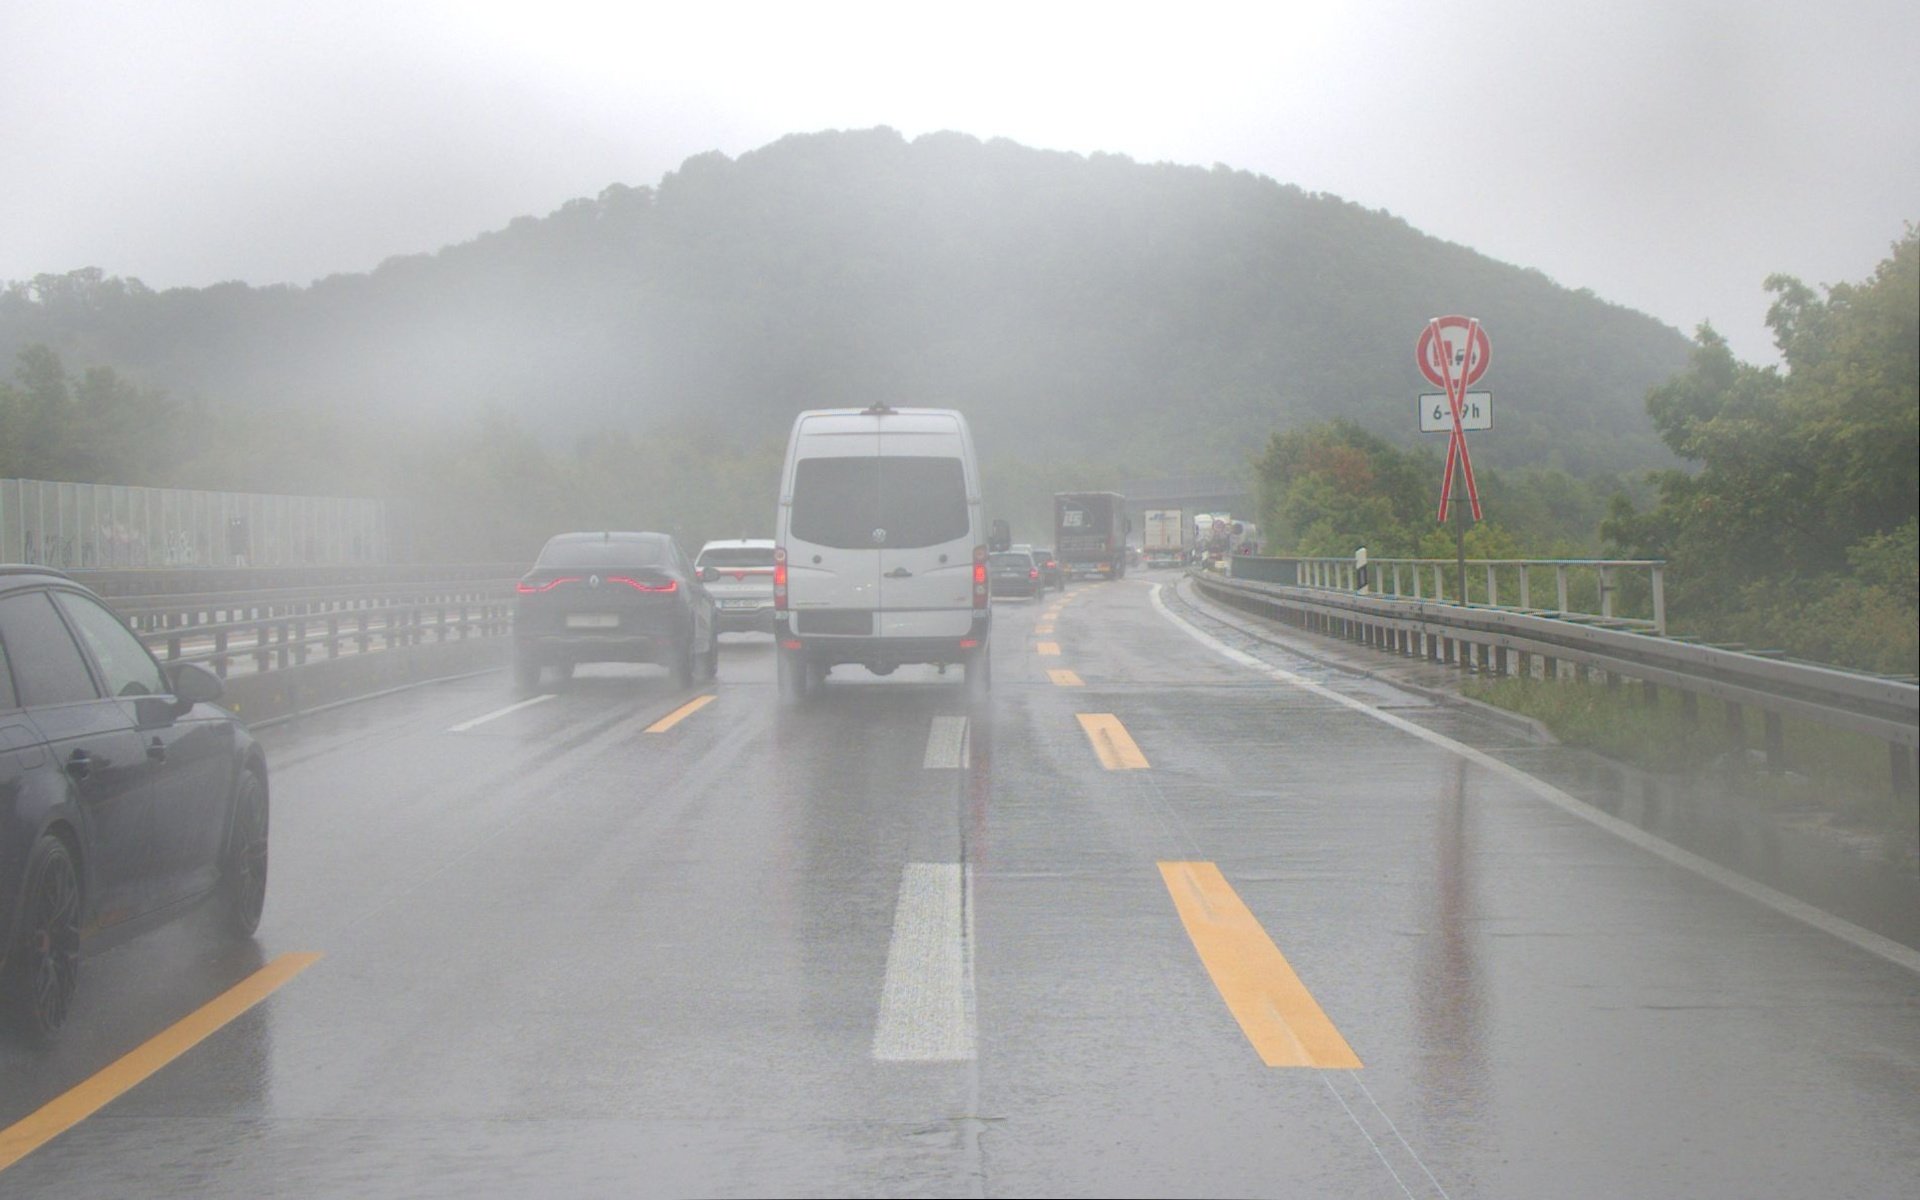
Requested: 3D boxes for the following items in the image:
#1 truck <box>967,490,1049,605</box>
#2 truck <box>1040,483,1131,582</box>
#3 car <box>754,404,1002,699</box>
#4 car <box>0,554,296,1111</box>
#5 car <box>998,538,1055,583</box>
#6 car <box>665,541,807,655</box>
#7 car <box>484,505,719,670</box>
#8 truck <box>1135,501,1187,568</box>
[{"bbox_3d":[1.414,-1.460,97.829,1.994,3.098,8.498,1,0,3],"label":"truck"},{"bbox_3d":[5.857,-3.044,158.671,3.582,4.391,9.622,1,0,5],"label":"truck"},{"bbox_3d":[-0.730,-0.446,32.943,2.145,2.562,5.390,1,0,0],"label":"car"},{"bbox_3d":[-3.573,0.596,11.052,1.993,1.492,4.631,1,0,0],"label":"car"},{"bbox_3d":[2.277,-1.344,116.877,1.774,1.470,4.000,1,0,3],"label":"car"},{"bbox_3d":[-3.325,-0.048,51.507,1.993,1.612,4.797,1,0,-3],"label":"car"},{"bbox_3d":[-3.652,-0.141,35.783,1.993,1.579,4.414,1,0,0],"label":"car"},{"bbox_3d":[13.646,-4.411,232.767,3.037,4.391,9.622,1,0,6],"label":"truck"}]
